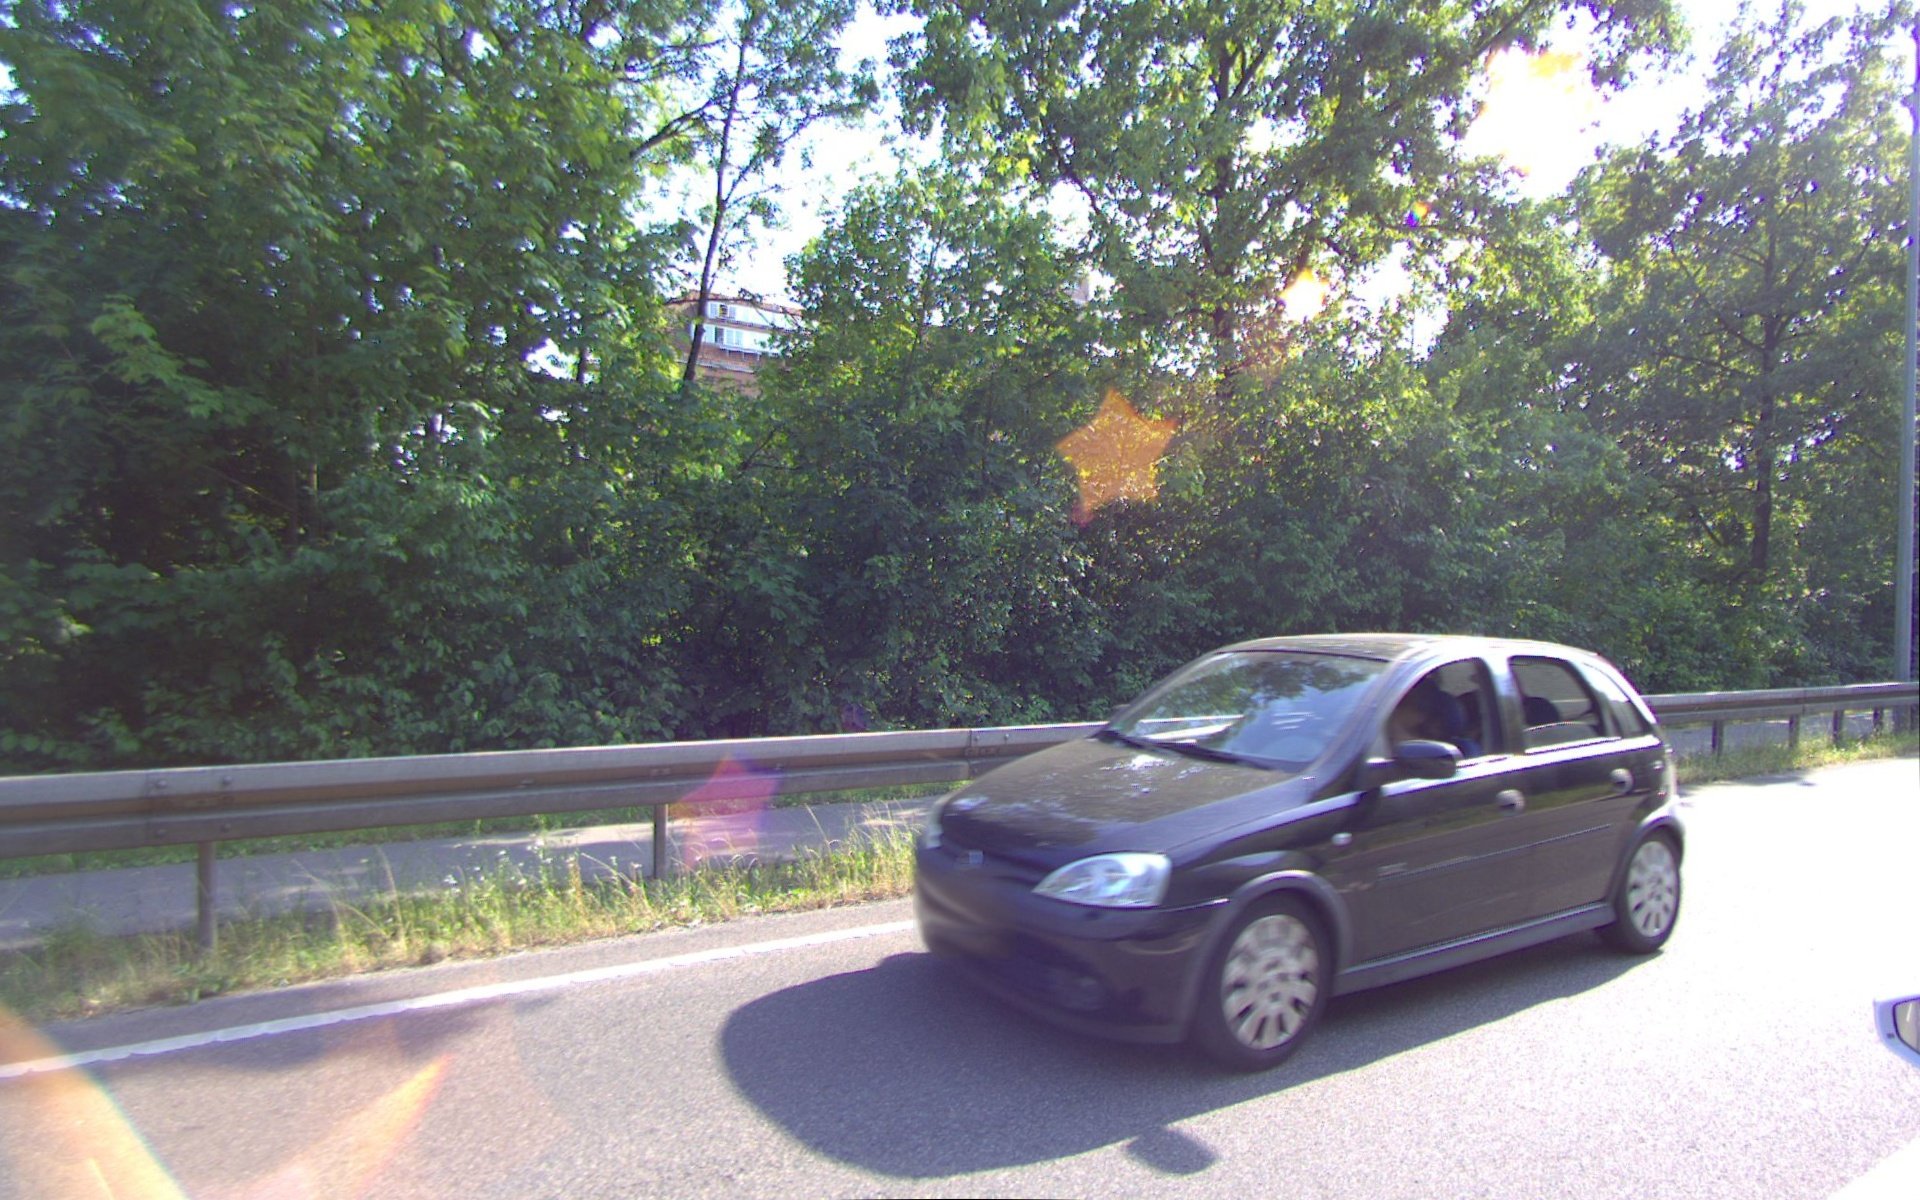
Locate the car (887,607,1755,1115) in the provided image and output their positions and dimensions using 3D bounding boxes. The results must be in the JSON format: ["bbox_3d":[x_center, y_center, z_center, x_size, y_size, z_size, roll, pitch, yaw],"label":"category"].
[{"bbox_3d":[1.800,0.794,4.646,3.954,1.461,1.673,1,-1,-31],"label":"car"}]
